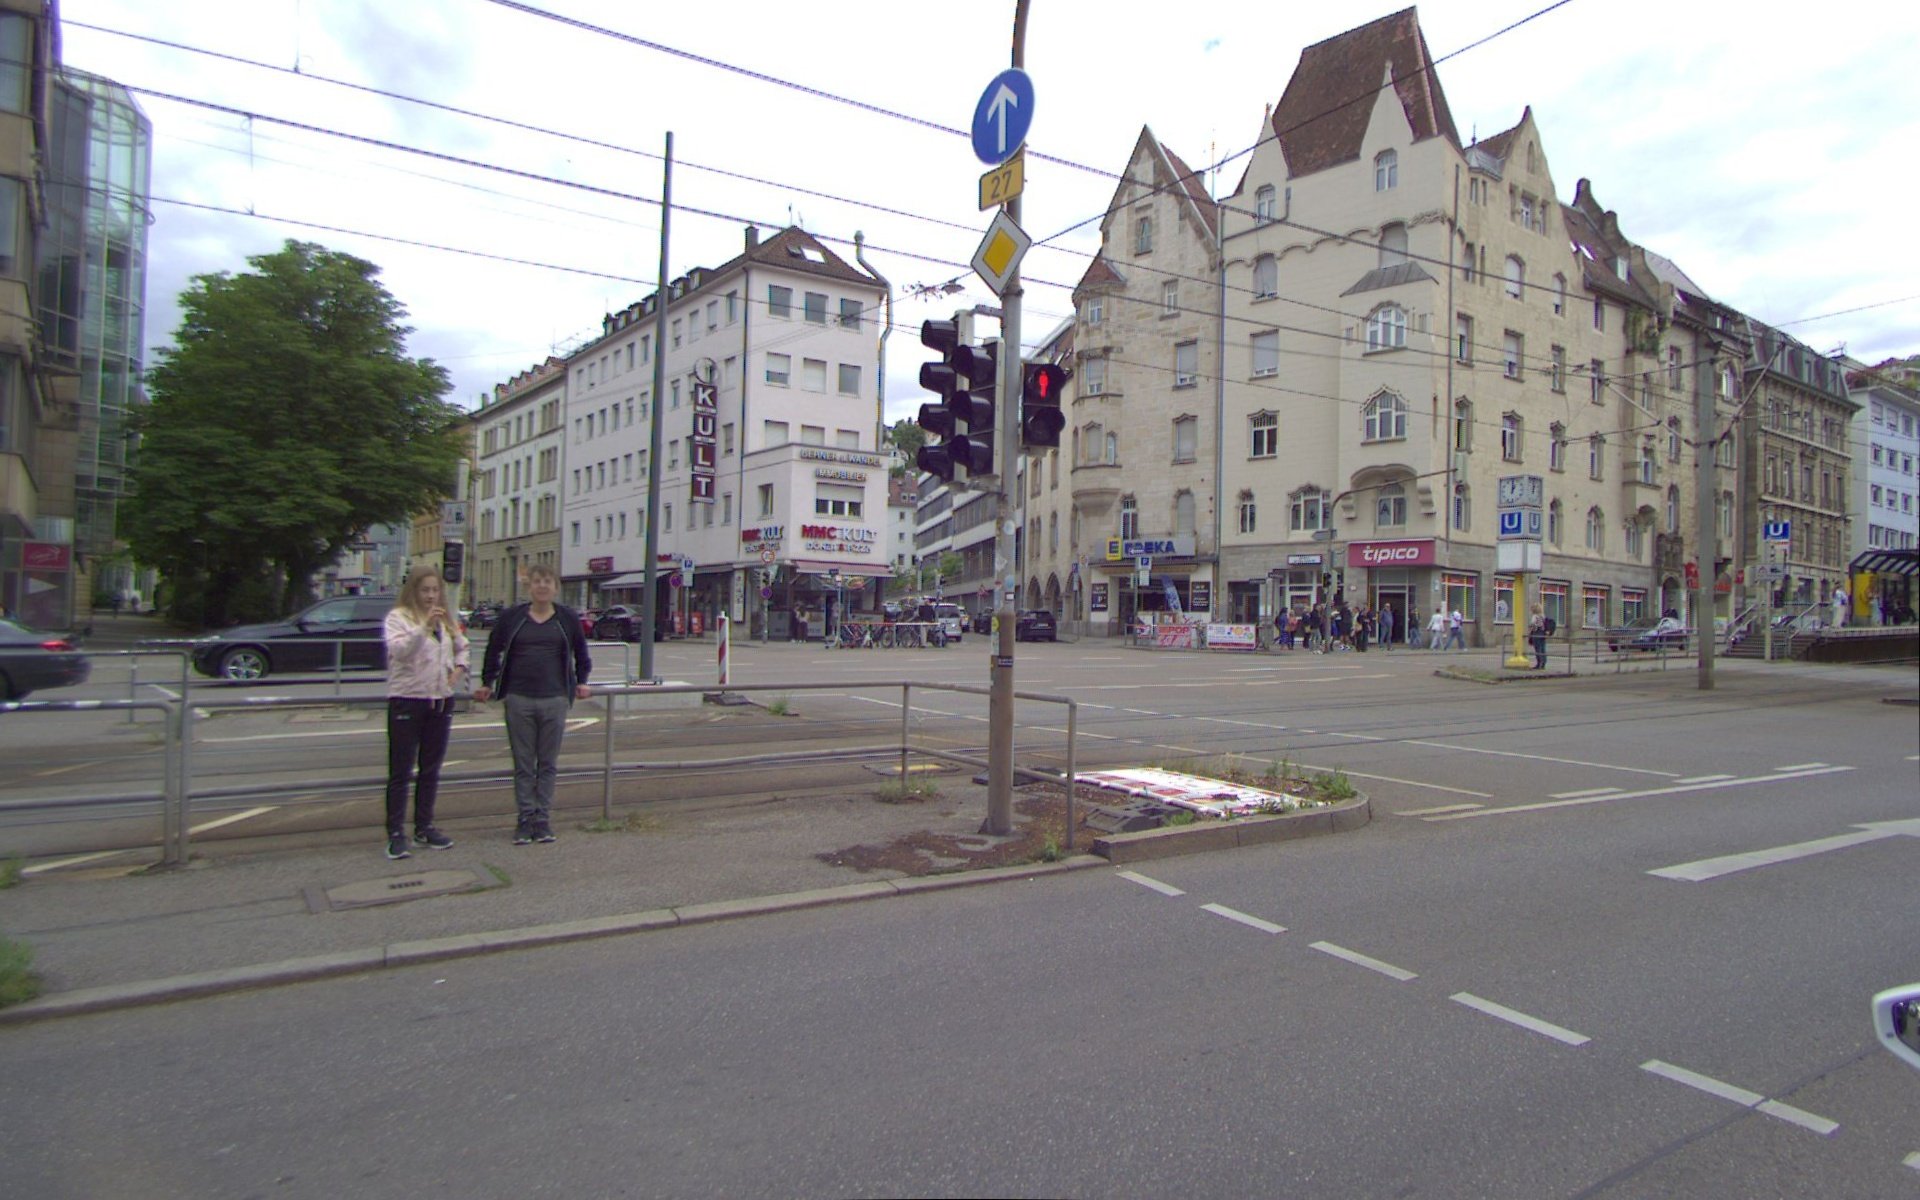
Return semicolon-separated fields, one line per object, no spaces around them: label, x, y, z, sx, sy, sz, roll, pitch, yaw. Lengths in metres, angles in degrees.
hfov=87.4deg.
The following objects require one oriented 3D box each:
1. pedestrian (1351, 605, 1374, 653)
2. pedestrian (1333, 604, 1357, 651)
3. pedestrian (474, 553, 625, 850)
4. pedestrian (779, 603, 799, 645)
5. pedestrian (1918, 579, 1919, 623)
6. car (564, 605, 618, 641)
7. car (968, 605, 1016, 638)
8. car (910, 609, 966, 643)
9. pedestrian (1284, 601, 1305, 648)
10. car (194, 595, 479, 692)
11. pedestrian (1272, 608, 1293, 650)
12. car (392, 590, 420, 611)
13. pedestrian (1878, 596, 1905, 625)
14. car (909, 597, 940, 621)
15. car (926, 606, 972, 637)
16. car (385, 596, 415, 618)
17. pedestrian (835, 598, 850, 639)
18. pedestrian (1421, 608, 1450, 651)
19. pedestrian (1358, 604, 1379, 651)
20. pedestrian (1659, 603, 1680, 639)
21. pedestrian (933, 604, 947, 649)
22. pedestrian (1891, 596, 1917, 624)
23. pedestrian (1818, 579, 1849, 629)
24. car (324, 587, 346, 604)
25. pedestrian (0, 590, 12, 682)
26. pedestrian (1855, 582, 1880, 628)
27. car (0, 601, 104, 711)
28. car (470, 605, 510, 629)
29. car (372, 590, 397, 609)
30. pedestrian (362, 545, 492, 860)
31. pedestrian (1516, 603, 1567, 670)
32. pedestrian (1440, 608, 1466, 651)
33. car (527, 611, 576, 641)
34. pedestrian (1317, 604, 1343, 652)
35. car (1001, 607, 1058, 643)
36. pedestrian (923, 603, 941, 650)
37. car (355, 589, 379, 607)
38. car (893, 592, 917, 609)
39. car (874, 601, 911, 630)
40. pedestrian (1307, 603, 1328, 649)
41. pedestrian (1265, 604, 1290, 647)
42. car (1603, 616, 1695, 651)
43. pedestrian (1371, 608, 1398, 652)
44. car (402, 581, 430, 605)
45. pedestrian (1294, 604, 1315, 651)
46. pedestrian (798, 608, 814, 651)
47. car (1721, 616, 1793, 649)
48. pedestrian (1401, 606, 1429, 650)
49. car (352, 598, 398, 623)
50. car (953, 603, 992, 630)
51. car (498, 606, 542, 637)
pedestrian;15.096;1.079;37.673;0.567;1.803;0.509;1;0;-17
pedestrian;15.177;1.085;39.594;0.654;1.803;0.790;1;0;-1
pedestrian;-2.642;0.604;6.437;0.764;1.744;0.787;1;0;-32
pedestrian;-7.253;1.011;42.540;0.644;1.728;0.780;1;0;-26
pedestrian;38.829;0.040;40.131;0.837;1.786;0.624;1;0;-30
car;-18.742;1.152;50.960;1.635;1.734;3.612;1;-1;-37
car;1.784;1.252;57.162;1.610;1.768;3.771;0;-2;-17
car;-1.129;1.289;49.403;1.725;1.581;4.501;1;-2;-15
pedestrian;12.960;0.953;38.956;0.505;1.803;0.573;1;0;-26
car;-12.470;0.852;20.442;4.725;1.782;1.666;1;0;-30
pedestrian;12.438;1.121;38.786;0.505;1.603;0.572;1;0;-29
car;-47.882;0.036;86.777;1.635;1.734;3.612;1;-1;-37
pedestrian;36.742;0.403;39.607;0.682;1.122;0.632;0;0;-32
car;-2.783;0.728;78.119;1.610;1.768;3.772;0;-2;-15
car;-0.712;1.328;59.884;2.018;1.768;4.660;0;-2;-10
car;-44.527;0.545;79.849;1.635;1.734;3.612;1;-1;-37
pedestrian;-5.225;0.824;44.675;0.589;1.803;0.509;1;0;-19
pedestrian;19.277;1.183;40.710;0.714;1.728;0.780;1;0;-26
pedestrian;15.894;1.074;39.096;0.565;1.803;0.511;1;0;-1
pedestrian;36.287;1.073;51.351;0.616;1.786;0.847;0;0;16
pedestrian;-0.831;1.071;41.005;0.502;1.803;0.576;1;0;-5
pedestrian;37.957;0.388;40.392;0.682;1.122;0.632;0;0;-32
pedestrian;30.913;0.147;35.563;0.654;1.734;0.684;0;0;-32
car;-65.395;-0.496;105.036;1.635;1.734;3.612;1;-1;-37
pedestrian;-19.257;0.703;19.882;0.570;1.803;0.507;1;0;-29
pedestrian;34.211;0.181;37.879;0.684;1.734;0.630;0;0;-40
car;-15.273;0.780;14.294;4.486;1.573;1.647;1;-1;-33
car;-30.064;1.069;64.224;1.635;1.463;3.612;1;-1;-37
car;-53.818;-0.062;93.854;1.635;1.734;3.612;1;-1;-37
pedestrian;-3.229;0.574;6.069;0.630;1.744;0.760;1;0;-32
pedestrian;15.321;0.963;26.475;0.796;1.728;0.877;1;0;-2
pedestrian;19.675;1.170;40.074;0.700;1.728;0.601;1;0;-26
car;-22.316;1.387;54.775;1.635;1.553;3.612;1;-1;-37
pedestrian;13.950;1.047;37.863;0.586;1.803;0.709;1;0;-15
car;3.414;1.283;50.139;1.610;1.706;3.771;0;-2;-17
pedestrian;-1.085;1.041;39.394;0.568;1.803;0.509;1;0;-19
car;-59.811;-0.153;101.292;1.635;1.734;3.612;1;-1;-37
car;-5.445;0.092;99.244;1.610;1.599;3.770;0;-1;-17
car;-4.354;0.964;64.217;1.610;1.769;3.769;0;0;-17
pedestrian;14.090;1.022;39.589;0.570;1.803;0.507;1;0;-29
pedestrian;13.433;1.081;42.482;0.808;1.803;0.574;1;0;-22
car;29.029;1.418;42.321;3.735;1.393;1.626;1;-2;-28
pedestrian;16.381;1.149;38.731;0.679;1.699;0.674;1;0;-14
car;-41.067;-0.477;75.769;1.376;1.763;3.612;1;-1;-37
pedestrian;13.481;1.065;39.297;0.569;1.803;0.508;1;0;-25
pedestrian;-6.514;1.234;42.420;0.568;1.803;0.509;1;0;-19
car;39.066;1.582;49.234;3.558;1.544;1.551;1;0;-30
pedestrian;18.069;1.103;39.895;0.644;1.728;0.780;1;0;-26
car;-42.106;0.778;72.245;1.912;1.734;4.436;1;-1;-43
car;0.834;1.147;68.402;1.610;1.768;3.771;0;-2;-17
car;-25.972;1.228;59.247;1.634;1.734;3.612;-1;1;-37
